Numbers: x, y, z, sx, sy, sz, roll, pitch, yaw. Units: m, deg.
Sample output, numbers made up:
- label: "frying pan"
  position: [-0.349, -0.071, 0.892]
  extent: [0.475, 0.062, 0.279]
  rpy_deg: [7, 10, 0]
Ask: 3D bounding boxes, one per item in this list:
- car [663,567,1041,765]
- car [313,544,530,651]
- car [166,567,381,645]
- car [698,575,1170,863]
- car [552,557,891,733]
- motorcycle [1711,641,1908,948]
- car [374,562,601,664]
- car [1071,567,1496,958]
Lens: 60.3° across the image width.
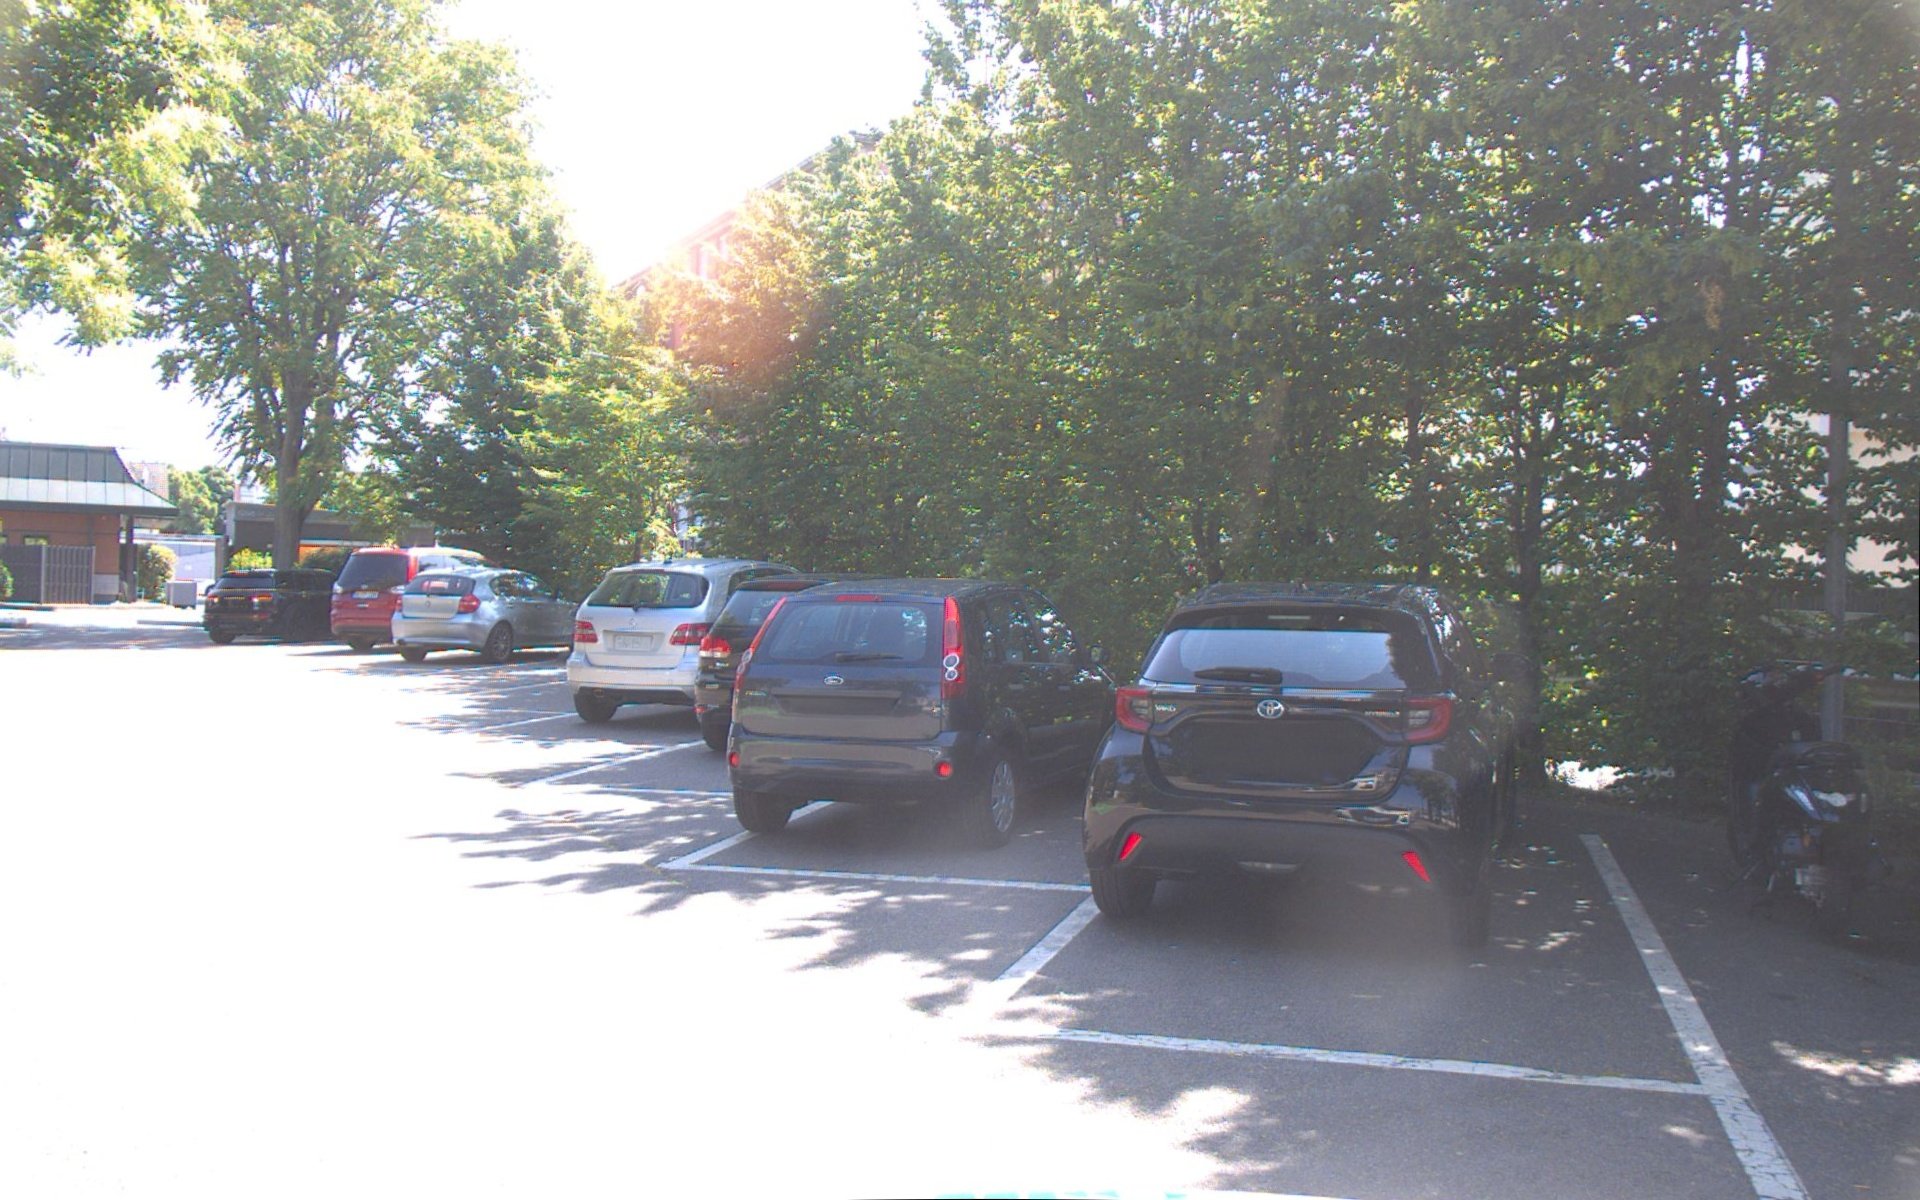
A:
- label: "car"
  position: [-0.799, 0.459, 14.791]
  extent: [1.733, 1.495, 3.999]
  rpy_deg: [1, 1, 24]
- label: "car"
  position: [-9.506, -0.072, 29.546]
  extent: [1.731, 1.765, 4.003]
  rpy_deg: [-1, 1, 16]
- label: "car"
  position: [-13.263, 0.109, 32.226]
  extent: [1.731, 1.413, 4.002]
  rpy_deg: [0, 0, 16]
- label: "car"
  position: [0.050, 0.585, 10.741]
  extent: [1.664, 1.478, 4.000]
  rpy_deg: [1, 1, 22]
- label: "car"
  position: [-2.347, 0.377, 17.347]
  extent: [1.732, 1.599, 4.000]
  rpy_deg: [1, 1, 22]
- label: "motorcycle"
  position: [3.763, 0.796, 7.424]
  extent: [0.463, 1.161, 1.607]
  rpy_deg: [1, 1, 16]
- label: "car"
  position: [-7.507, 0.160, 26.683]
  extent: [1.731, 1.501, 4.003]
  rpy_deg: [0, 1, 15]
- label: "car"
  position: [1.865, 0.587, 8.497]
  extent: [1.621, 1.495, 3.906]
  rpy_deg: [0, 1, 19]
